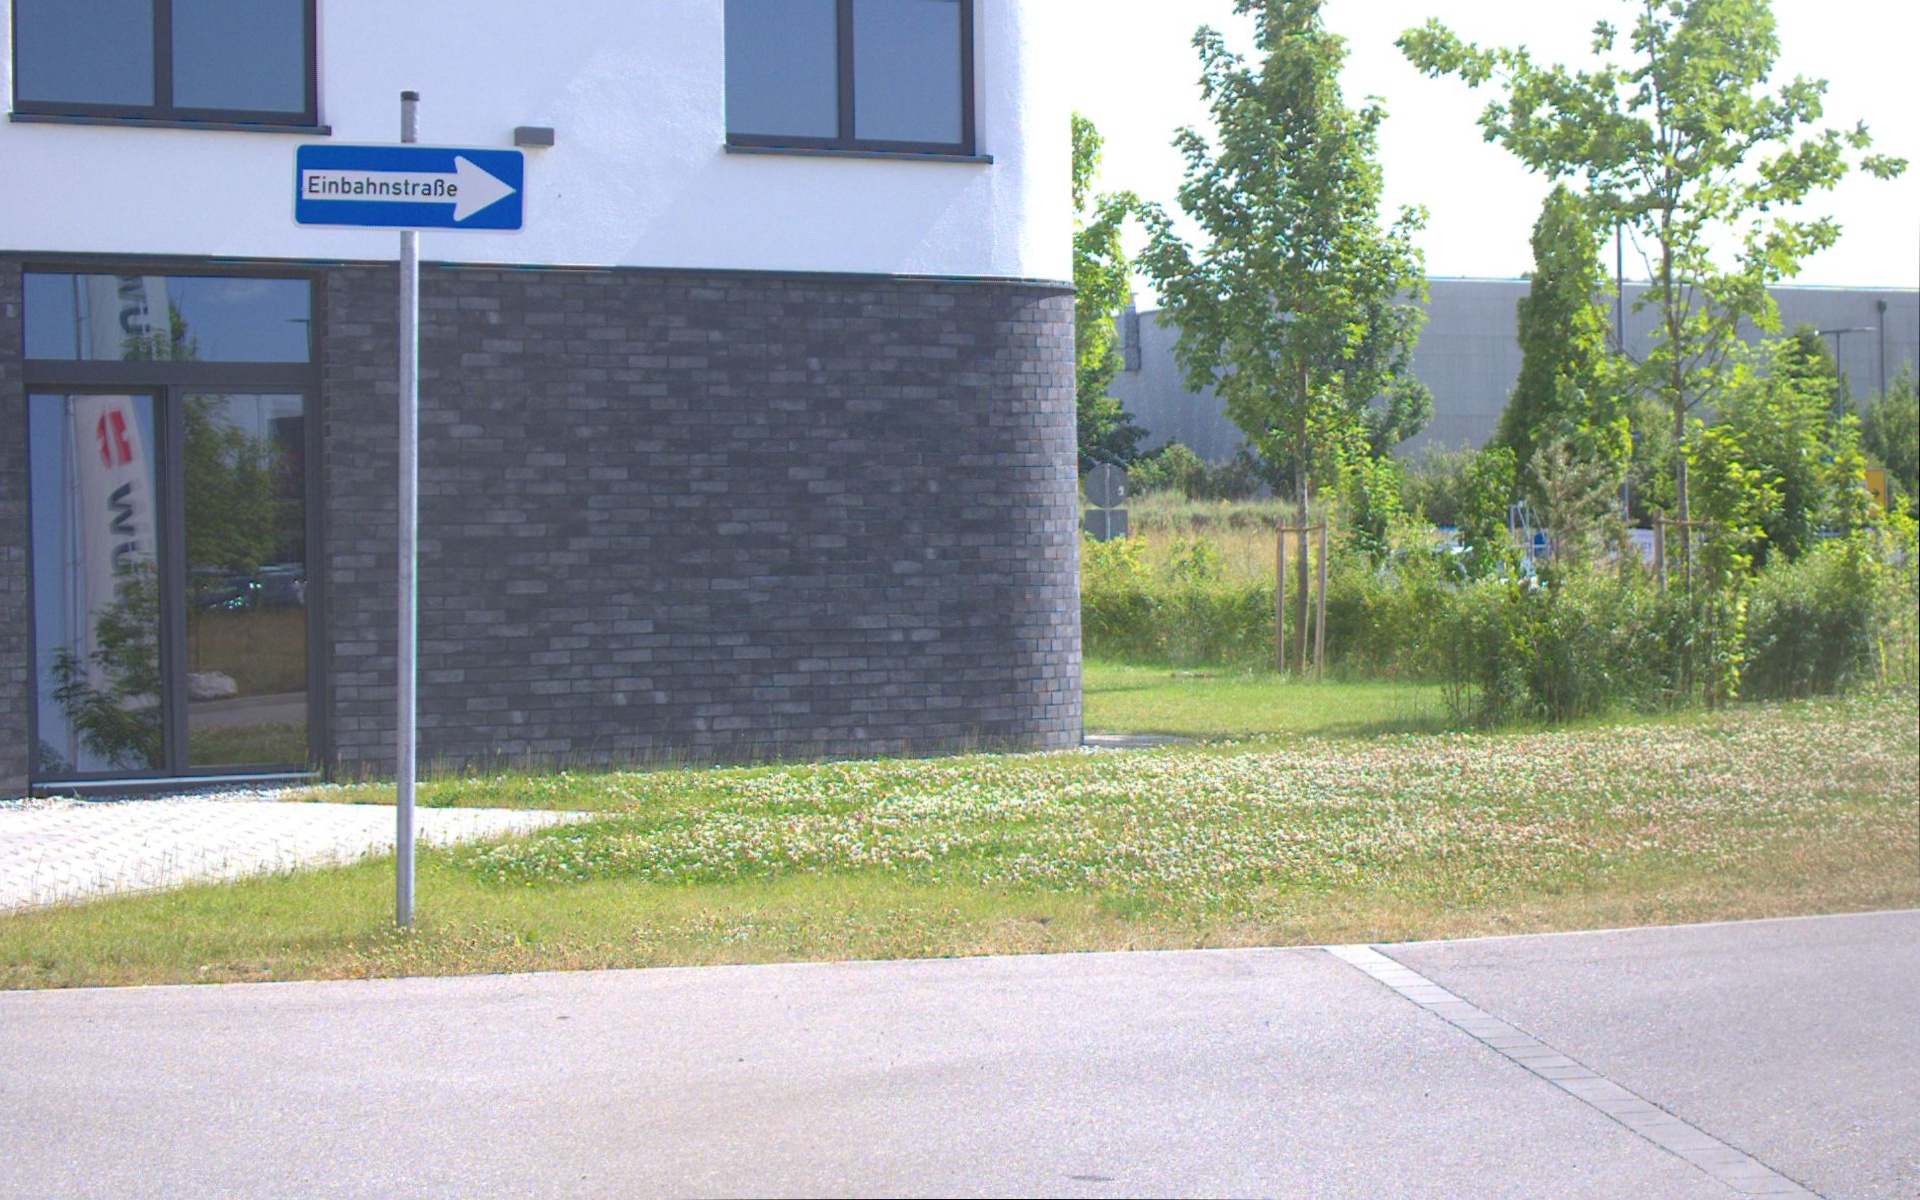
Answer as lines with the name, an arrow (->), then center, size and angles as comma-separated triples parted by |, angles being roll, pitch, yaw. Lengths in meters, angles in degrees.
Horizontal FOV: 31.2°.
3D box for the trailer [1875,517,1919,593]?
trailer -> 24.423, -1.136, 85.247 | 1.826, 1.853, 3.991 | 1, 2, 40
